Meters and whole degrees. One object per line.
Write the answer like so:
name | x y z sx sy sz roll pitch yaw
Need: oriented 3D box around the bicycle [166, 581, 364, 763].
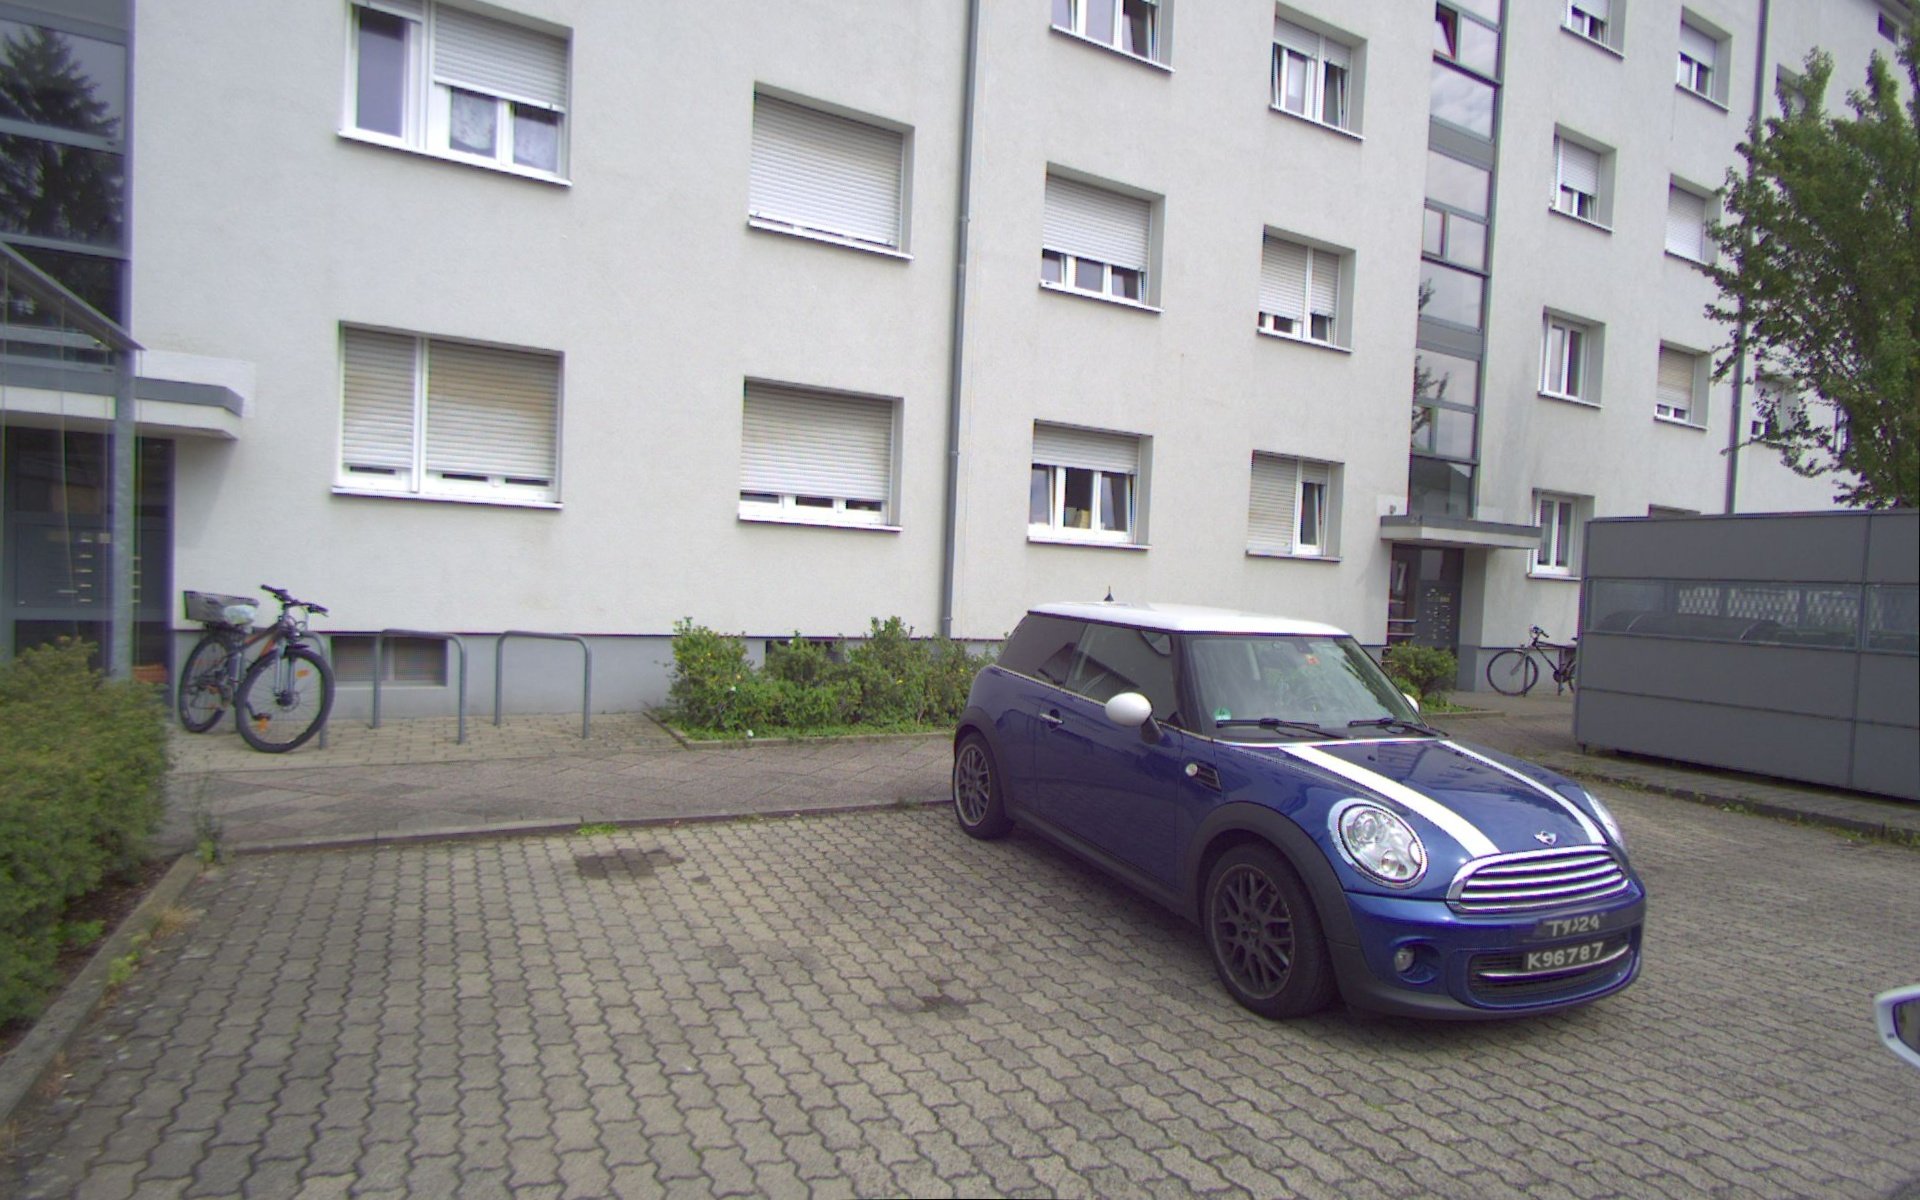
bicycle | -4.991 0.470 7.193 1.512 1.167 0.480 2 1 27

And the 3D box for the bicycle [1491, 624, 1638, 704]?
bicycle | 8.968 0.939 14.974 1.775 1.040 0.479 3 2 22

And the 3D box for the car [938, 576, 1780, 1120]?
car | 1.367 0.694 4.848 1.630 1.481 3.624 2 2 -24
